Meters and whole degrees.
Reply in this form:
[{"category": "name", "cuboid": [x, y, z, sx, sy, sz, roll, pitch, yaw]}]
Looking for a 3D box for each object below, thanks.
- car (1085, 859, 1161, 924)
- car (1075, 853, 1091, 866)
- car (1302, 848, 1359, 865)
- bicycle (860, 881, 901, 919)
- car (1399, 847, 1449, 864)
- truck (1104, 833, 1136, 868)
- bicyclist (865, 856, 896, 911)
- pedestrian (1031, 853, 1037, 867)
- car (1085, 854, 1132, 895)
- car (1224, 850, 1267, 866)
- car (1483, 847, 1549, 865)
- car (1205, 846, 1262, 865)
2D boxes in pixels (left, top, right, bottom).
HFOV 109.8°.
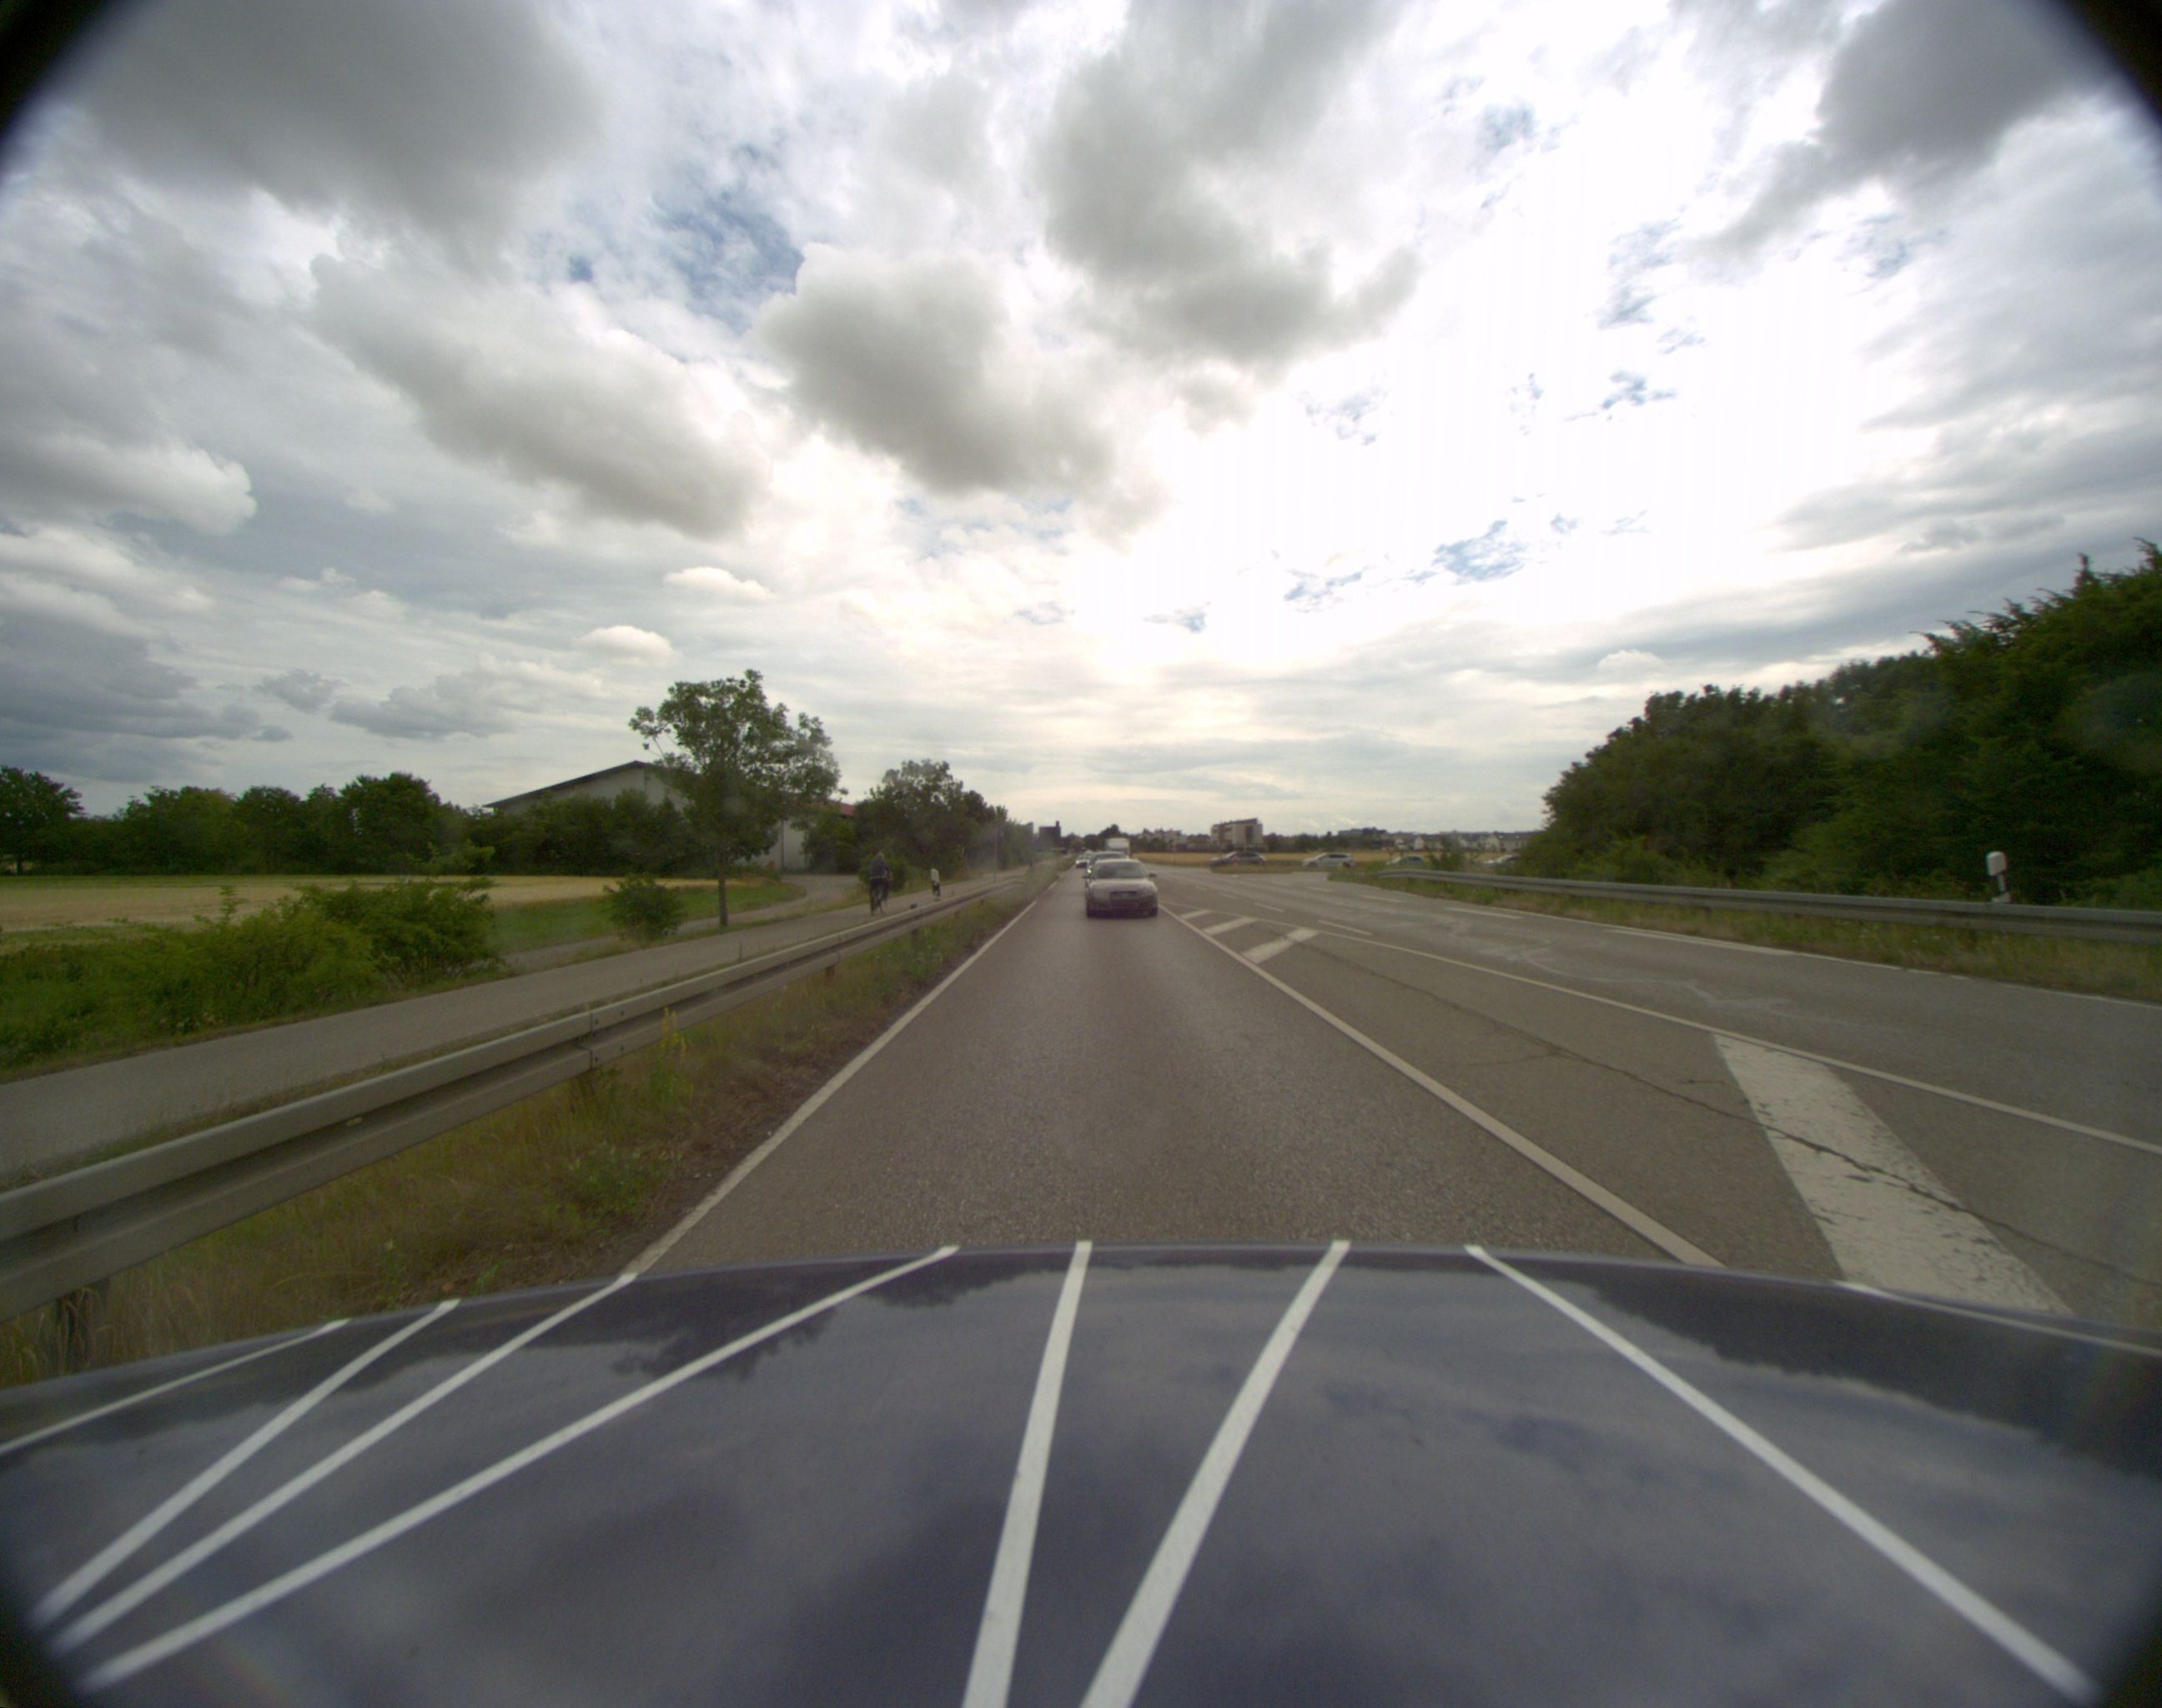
[{"category": "car", "cuboid": [0.987, 0.884, 19.848, 1.730, 1.436, 4.204, -1, 0, 0]}, {"category": "car", "cuboid": [0.220, 0.607, 88.482, 1.730, 1.436, 4.204, -2, 0, 0]}, {"category": "car", "cuboid": [22.706, 0.230, 69.313, 4.673, 1.490, 2.001, -1, 1, 8]}, {"category": "bicycle", "cuboid": [-5.977, 1.353, 22.764, 0.640, 0.972, 2.072, -1, 0, 1]}, {"category": "car", "cuboid": [30.851, 0.107, 68.408, 3.714, 1.490, 1.731, -1, 1, 8]}, {"category": "truck", "cuboid": [4.214, -0.369, 83.271, 2.931, 3.541, 7.604, -2, 1, -1]}, {"category": "bicyclist", "cuboid": [-5.980, 0.869, 22.737, 0.640, 1.573, 0.969, -1, 1, 1]}, {"category": "pedestrian", "cuboid": [-5.225, 0.633, 84.295, 0.591, 1.512, 0.501, -2, 1, 7]}, {"category": "car", "cuboid": [1.071, 0.778, 31.220, 1.730, 1.534, 4.204, -1, 0, 0]}, {"category": "car", "cuboid": [15.780, 0.359, 72.923, 3.833, 1.481, 2.001, -1, 1, 7]}, {"category": "car", "cuboid": [38.555, 0.146, 67.426, 4.673, 1.490, 2.001, -1, 1, 8]}, {"category": "car", "cuboid": [14.058, 0.162, 70.169, 4.814, 1.680, 2.000, -1, 1, 0]}]
